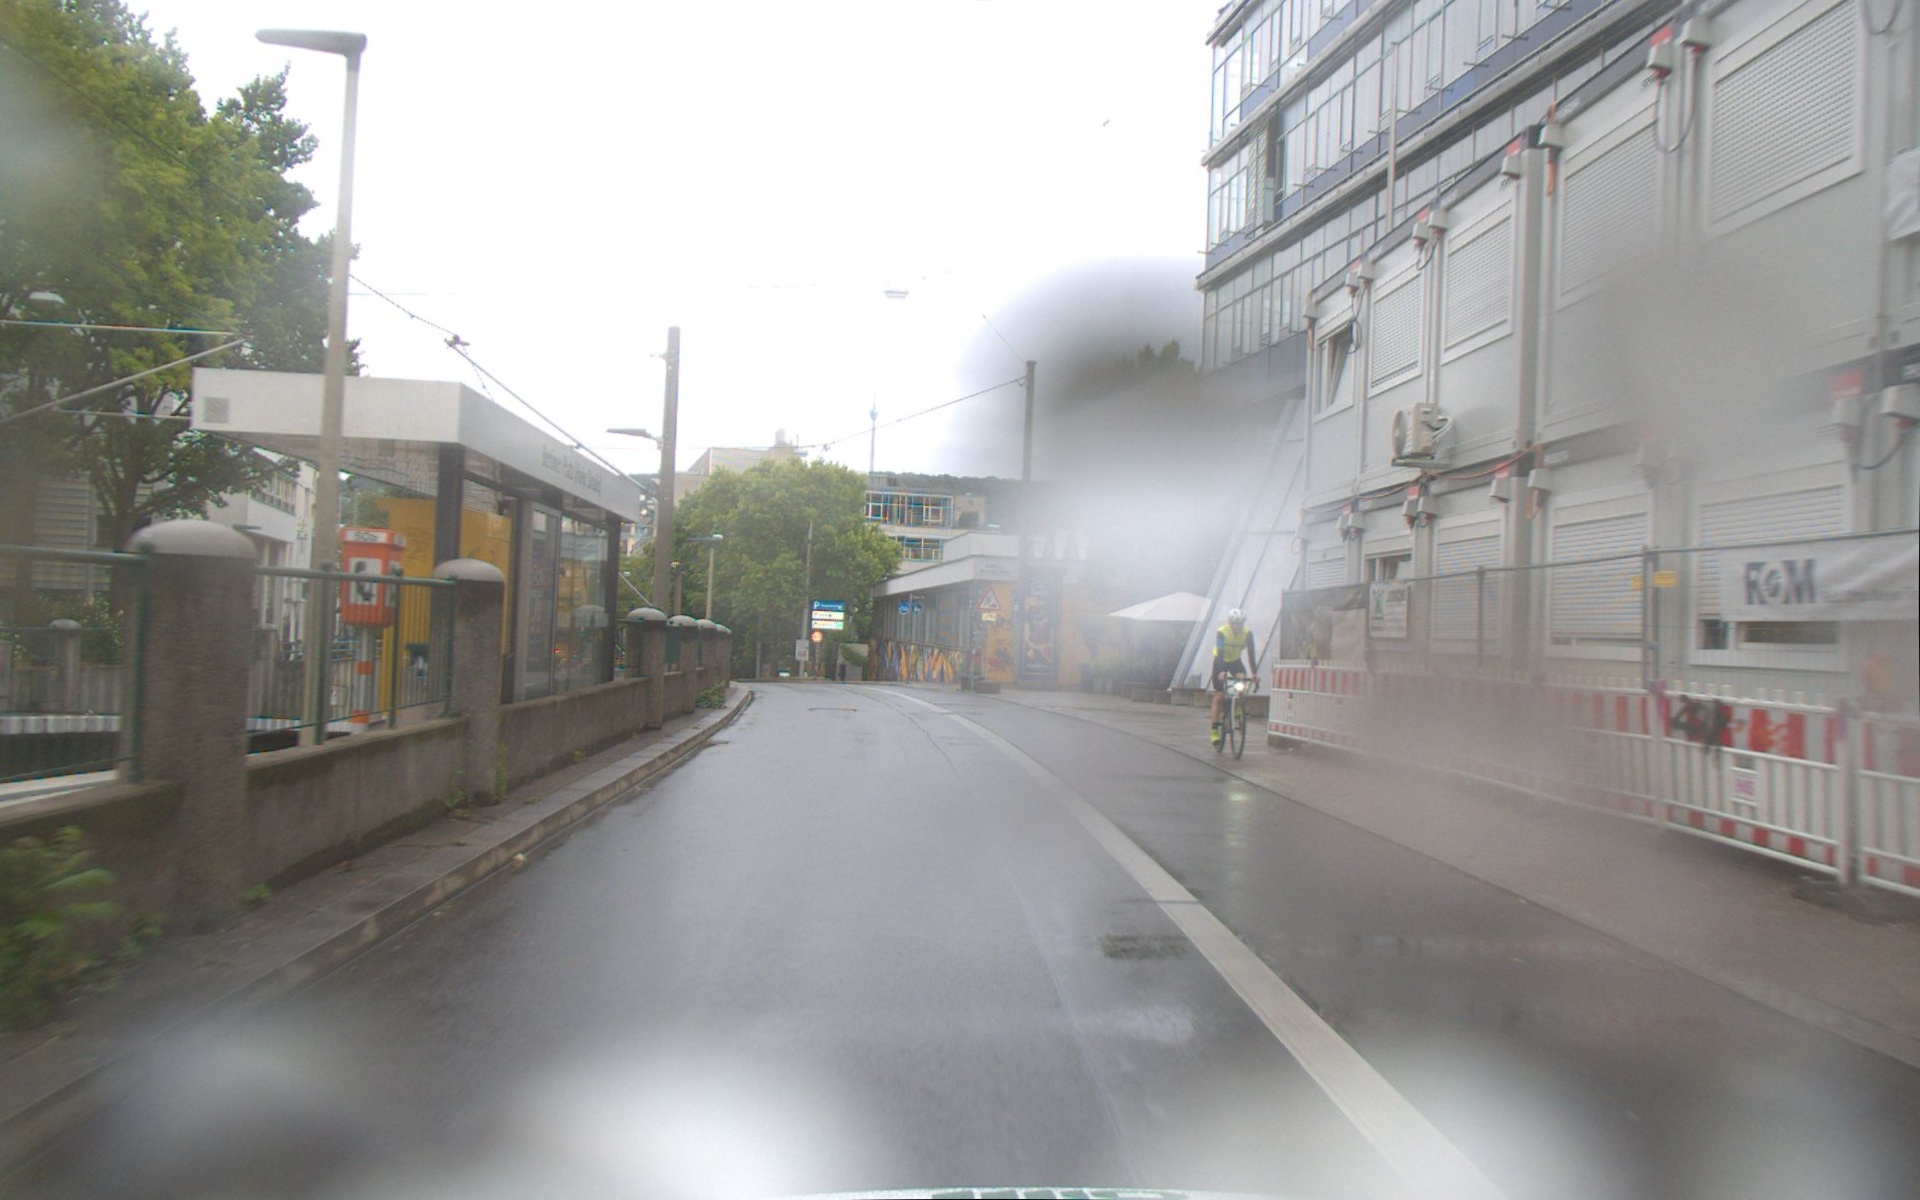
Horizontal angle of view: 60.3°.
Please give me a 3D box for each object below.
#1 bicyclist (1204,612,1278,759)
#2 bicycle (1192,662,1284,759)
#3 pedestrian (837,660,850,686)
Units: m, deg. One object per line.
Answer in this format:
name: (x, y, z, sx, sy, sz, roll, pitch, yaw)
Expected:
bicyclist: (3.312, 0.995, 19.543, 0.648, 1.667, 0.792, -2, -1, -3)
bicycle: (3.287, 1.286, 19.731, 0.648, 1.071, 2.055, -1, -2, -2)
pedestrian: (-8.413, 5.291, 119.451, 0.792, 1.897, 1.053, 1, -3, -10)
